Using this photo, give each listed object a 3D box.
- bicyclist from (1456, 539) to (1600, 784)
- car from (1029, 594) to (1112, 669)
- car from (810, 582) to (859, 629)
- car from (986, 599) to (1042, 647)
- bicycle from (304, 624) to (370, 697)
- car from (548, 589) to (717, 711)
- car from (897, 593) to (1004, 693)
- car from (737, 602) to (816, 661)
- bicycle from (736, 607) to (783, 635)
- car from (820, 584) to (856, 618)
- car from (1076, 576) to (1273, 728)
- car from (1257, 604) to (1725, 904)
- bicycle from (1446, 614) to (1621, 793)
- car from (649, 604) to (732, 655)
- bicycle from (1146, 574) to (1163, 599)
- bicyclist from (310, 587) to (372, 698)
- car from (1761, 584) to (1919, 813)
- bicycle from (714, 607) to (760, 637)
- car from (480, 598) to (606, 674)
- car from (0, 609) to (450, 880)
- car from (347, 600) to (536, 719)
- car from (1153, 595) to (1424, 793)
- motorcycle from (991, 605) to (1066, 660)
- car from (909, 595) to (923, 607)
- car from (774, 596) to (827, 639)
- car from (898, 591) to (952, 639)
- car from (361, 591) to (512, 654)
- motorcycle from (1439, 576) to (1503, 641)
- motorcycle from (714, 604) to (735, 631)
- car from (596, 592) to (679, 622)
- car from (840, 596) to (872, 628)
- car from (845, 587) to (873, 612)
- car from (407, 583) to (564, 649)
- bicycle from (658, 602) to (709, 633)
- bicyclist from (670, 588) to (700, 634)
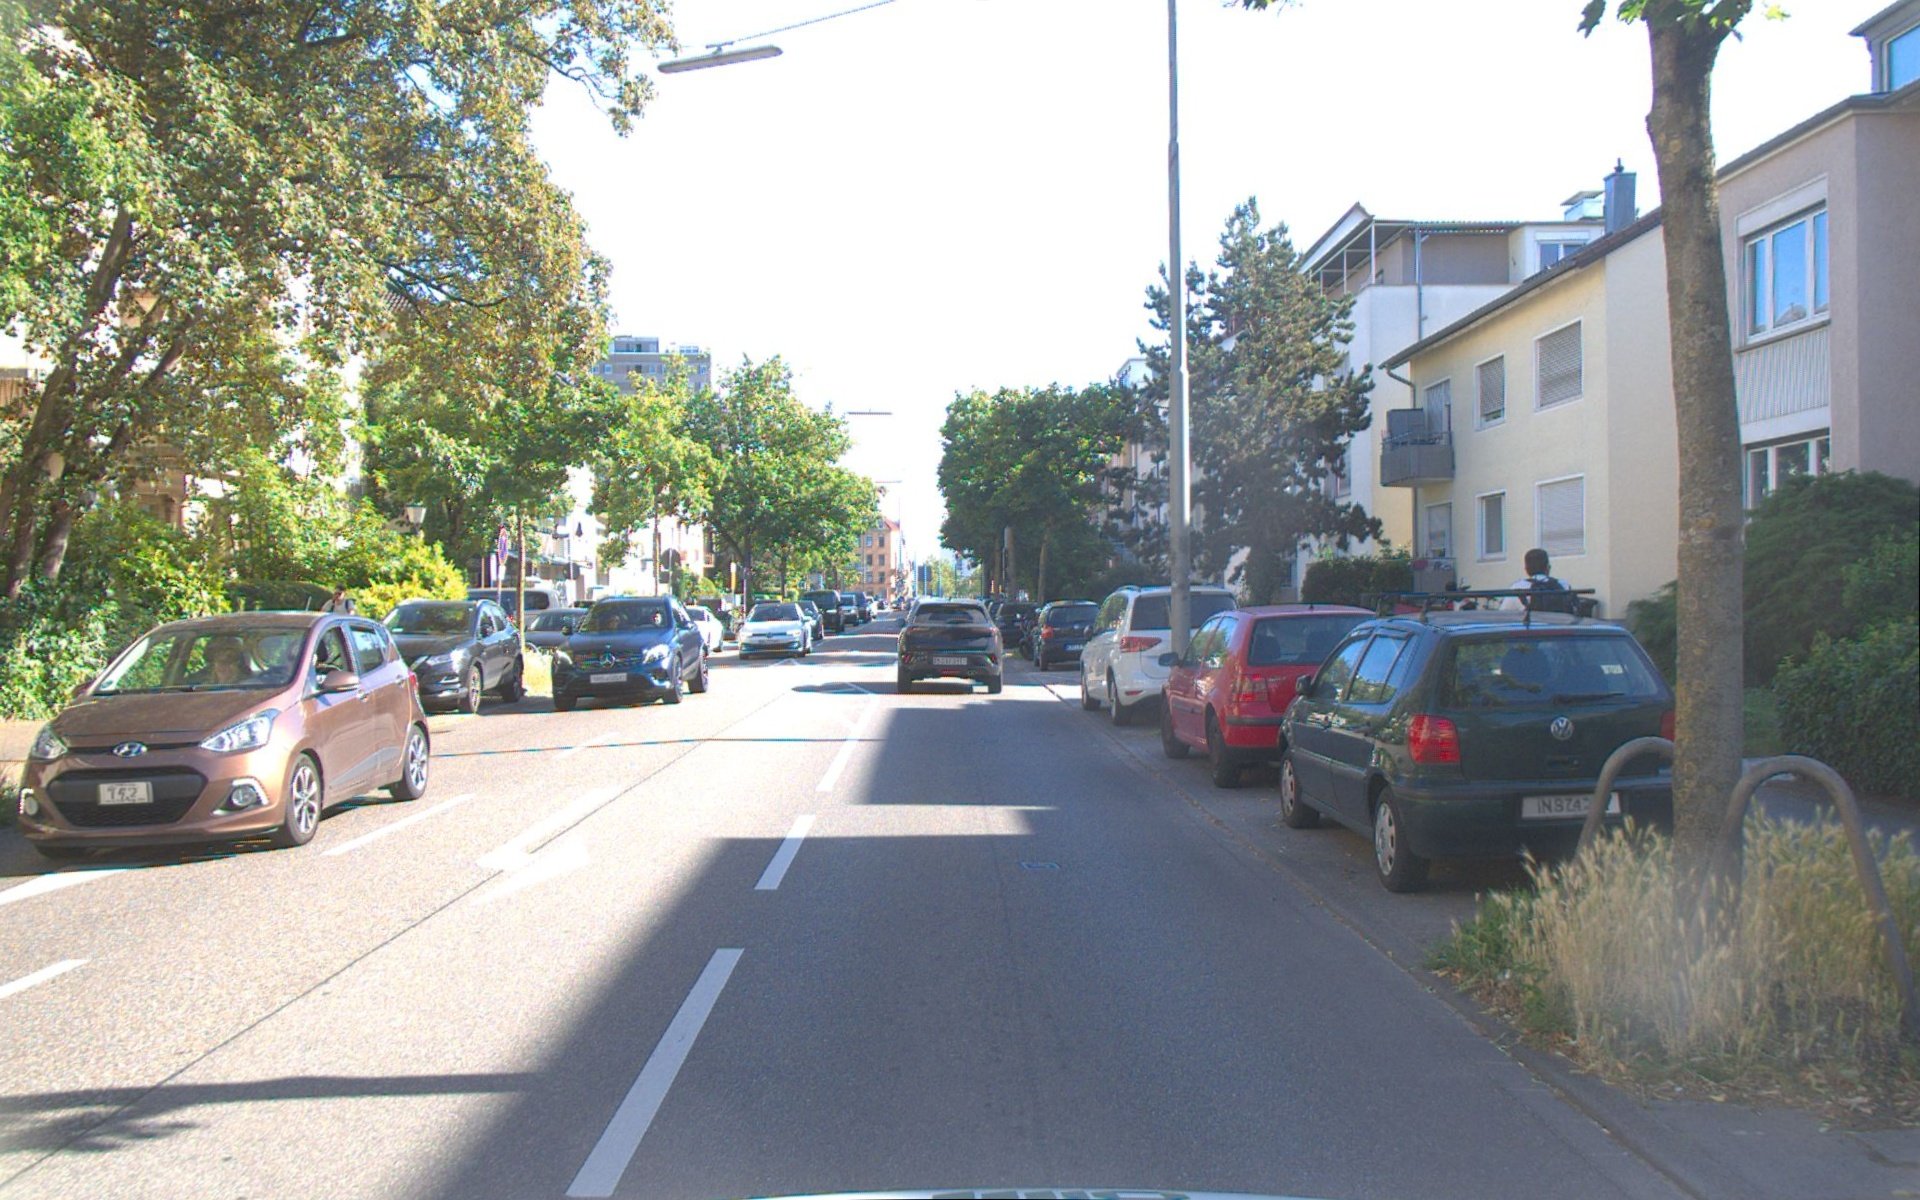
[{"bbox_3d":[4.459,0.463,13.044,0.709,1.824,1.015,-2,0,-1],"label":"bicyclist"},{"bbox_3d":[2.425,0.661,36.898,1.587,1.525,3.649,-2,0,0],"label":"car"},{"bbox_3d":[-5.748,0.234,76.321,1.976,1.986,5.176,-3,0,-2],"label":"car"},{"bbox_3d":[1.699,0.707,53.026,1.554,1.420,4.453,-2,0,0],"label":"car"},{"bbox_3d":[-10.316,0.980,27.435,0.439,1.135,1.764,1,0,-2],"label":"bicycle"},{"bbox_3d":[-5.038,0.710,26.011,1.799,1.642,4.399,-3,0,-2],"label":"car"},{"bbox_3d":[-0.182,0.689,28.432,1.710,1.601,3.557,0,0,-1],"label":"car"},{"bbox_3d":[-4.948,0.814,45.070,1.698,1.437,4.191,-3,0,-1],"label":"car"},{"bbox_3d":[-8.279,0.850,68.228,1.982,1.111,0.462,0,0,22],"label":"bicycle"},{"bbox_3d":[-6.934,0.045,94.231,1.779,1.773,4.492,-3,0,-2],"label":"car"},{"bbox_3d":[2.626,0.591,21.220,1.733,1.688,4.339,-2,0,-3],"label":"car"},{"bbox_3d":[2.901,0.744,9.839,1.501,1.379,3.717,-1,0,-1],"label":"car"},{"bbox_3d":[4.480,0.765,13.050,0.684,1.268,1.821,-2,0,-1],"label":"bicycle"},{"bbox_3d":[-8.046,0.855,49.757,1.796,1.413,4.801,0,0,-1],"label":"car"},{"bbox_3d":[10.385,-0.703,88.337,0.579,1.309,1.689,-4,0,-1],"label":"bicycle"},{"bbox_3d":[-10.303,0.684,27.563,0.570,1.797,1.208,1,0,-2],"label":"bicyclist"},{"bbox_3d":[6.770,0.608,10.445,1.501,1.379,3.717,-4,0,-1],"label":"car"},{"bbox_3d":[-8.889,0.865,65.917,1.893,1.155,0.462,0,0,27],"label":"bicycle"},{"bbox_3d":[-8.534,0.692,34.168,1.603,1.441,4.089,1,0,-1],"label":"car"},{"bbox_3d":[-4.907,0.856,11.590,1.549,1.477,3.743,-3,0,-2],"label":"car"},{"bbox_3d":[-7.749,0.825,25.107,1.592,1.616,4.346,1,0,-2],"label":"car"},{"bbox_3d":[2.745,0.715,14.575,1.501,1.475,3.716,-1,0,-2],"label":"car"},{"bbox_3d":[1.691,0.807,41.268,0.690,1.294,2.409,-3,0,-28],"label":"motorcycle"},{"bbox_3d":[-5.517,0.073,207.404,1.736,1.478,3.884,-1,0,-2],"label":"car"},{"bbox_3d":[-5.977,0.641,62.286,1.657,1.479,4.172,-3,0,-2],"label":"car"},{"bbox_3d":[-1.202,0.506,58.209,1.793,1.606,3.839,-1,0,0],"label":"car"},{"bbox_3d":[-14.607,0.590,46.160,3.858,1.673,1.667,0,1,-25],"label":"car"},{"bbox_3d":[11.513,0.183,37.330,0.623,1.399,2.425,-2,0,-1],"label":"motorcycle"},{"bbox_3d":[-9.997,0.735,70.150,0.451,1.145,1.718,0,1,7],"label":"motorcycle"},{"bbox_3d":[-16.536,0.326,85.011,3.906,1.512,1.880,0,0,-2],"label":"car"},{"bbox_3d":[-6.586,0.742,105.274,1.767,1.944,4.711,-3,0,-1],"label":"car"},{"bbox_3d":[-6.989,-0.071,114.252,1.684,1.593,4.341,-4,0,-1],"label":"car"},{"bbox_3d":[-14.105,0.439,49.200,4.262,1.912,1.864,0,1,-27],"label":"car"},{"bbox_3d":[-11.493,0.732,68.744,2.141,1.213,0.449,-1,0,23],"label":"bicycle"},{"bbox_3d":[-11.426,0.455,68.739,1.030,1.856,0.660,-1,0,23],"label":"bicyclist"}]
